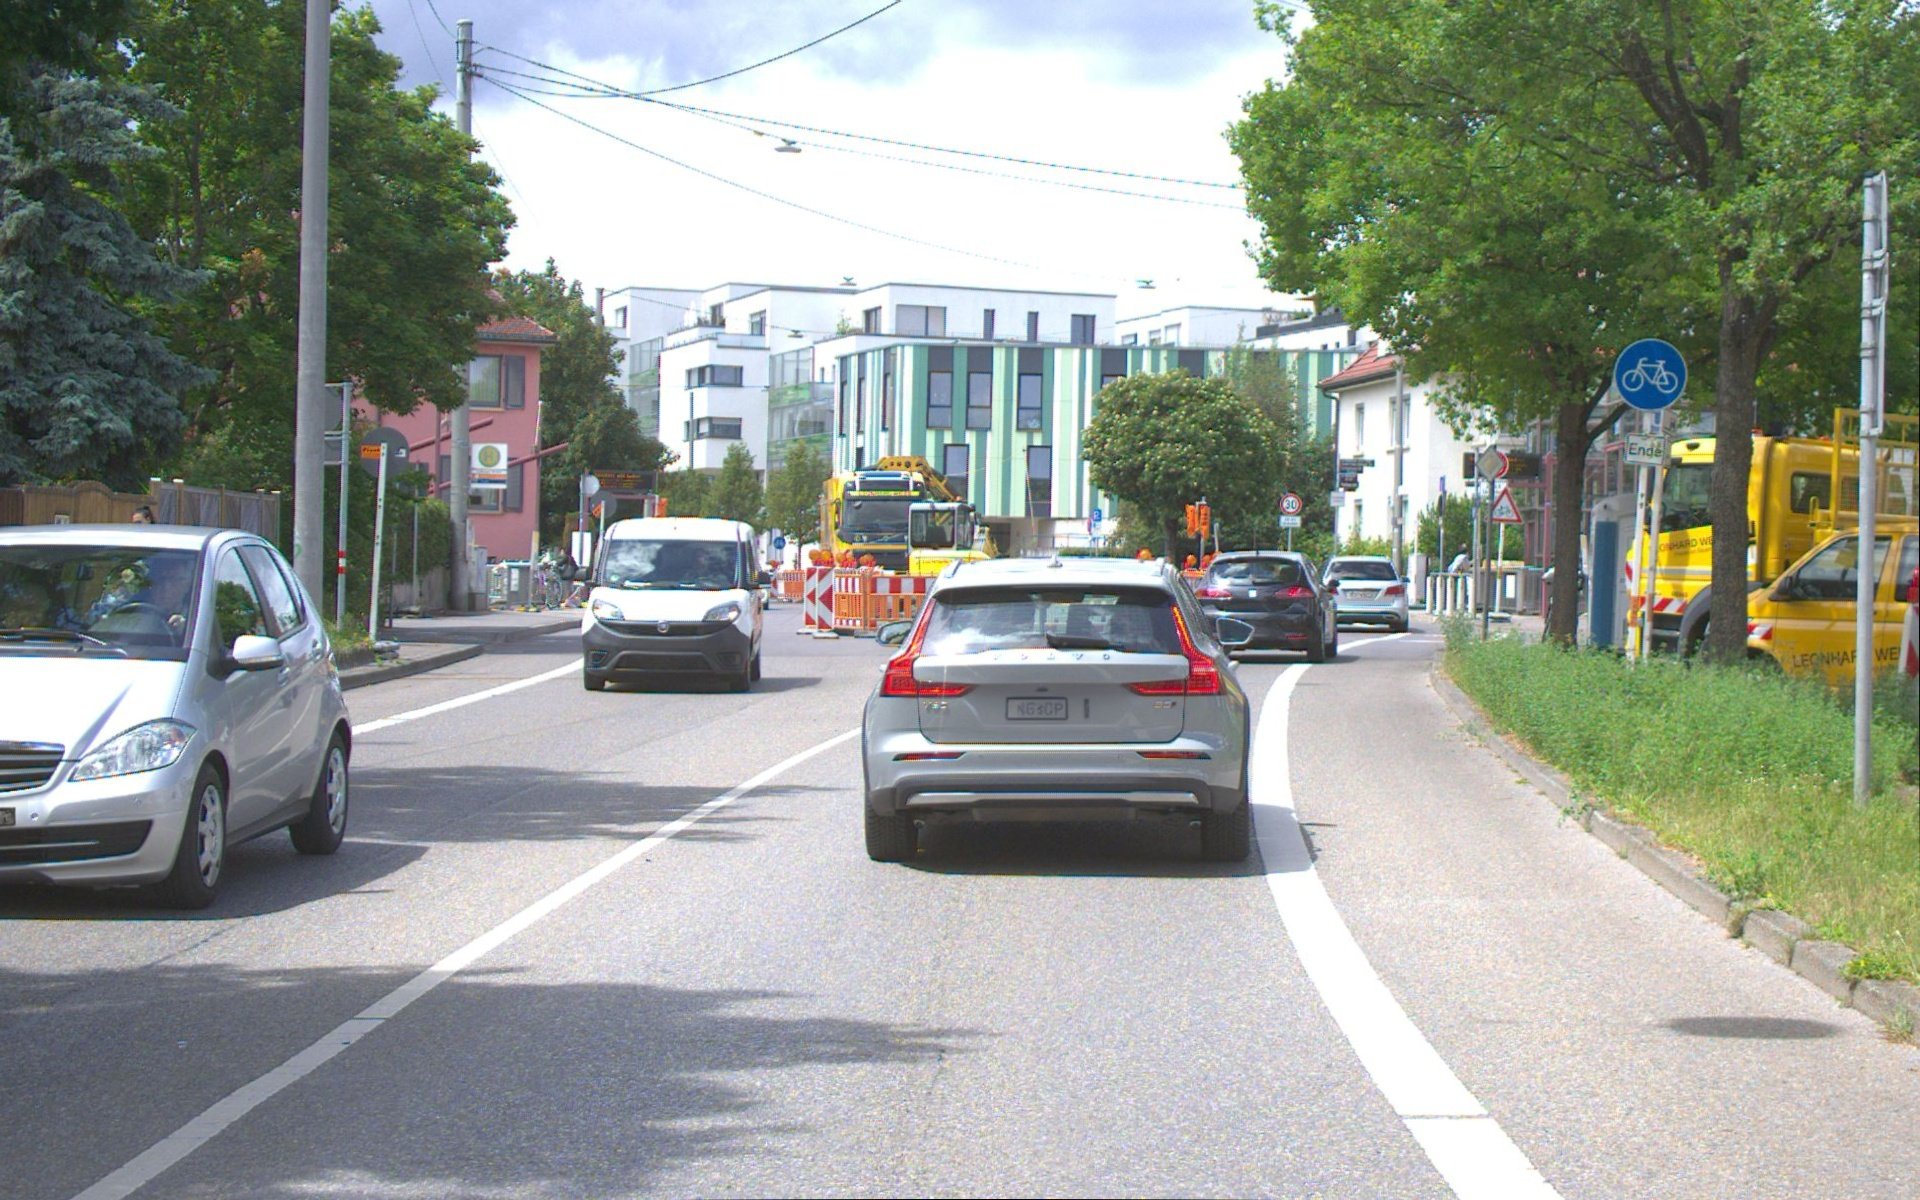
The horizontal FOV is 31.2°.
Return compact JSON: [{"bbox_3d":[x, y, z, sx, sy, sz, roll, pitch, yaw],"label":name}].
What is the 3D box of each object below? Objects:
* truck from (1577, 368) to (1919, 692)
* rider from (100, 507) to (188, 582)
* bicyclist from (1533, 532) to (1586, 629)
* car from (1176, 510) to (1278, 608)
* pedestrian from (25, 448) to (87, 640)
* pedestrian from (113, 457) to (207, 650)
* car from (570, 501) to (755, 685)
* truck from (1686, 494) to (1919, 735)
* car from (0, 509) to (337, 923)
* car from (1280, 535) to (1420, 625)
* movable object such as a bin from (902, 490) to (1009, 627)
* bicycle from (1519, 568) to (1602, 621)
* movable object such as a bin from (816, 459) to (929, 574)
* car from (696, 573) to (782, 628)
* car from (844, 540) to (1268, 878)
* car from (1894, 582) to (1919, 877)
[{"bbox_3d":[9.601,-0.591,32.993,6.703,2.998,2.762,3,-1,45],"label":"truck"},{"bbox_3d":[-8.601,-0.583,36.265,0.728,0.732,0.690,4,-1,-2],"label":"rider"},{"bbox_3d":[9.907,-0.325,56.809,0.589,1.553,0.567,4,-1,-16],"label":"bicyclist"},{"bbox_3d":[6.126,-0.911,78.551,1.994,2.007,3.998,4,-1,7],"label":"car"},{"bbox_3d":[-9.625,-0.593,36.622,0.402,2.007,0.414,4,-1,3],"label":"pedestrian"},{"bbox_3d":[-8.618,-0.493,37.060,0.715,2.007,0.771,4,-1,-2],"label":"pedestrian"},{"bbox_3d":[-3.168,-0.063,37.326,1.848,1.869,4.594,0,0,-3],"label":"car"},{"bbox_3d":[9.193,0.214,29.412,1.994,2.007,5.676,4,-1,-41],"label":"truck"},{"bbox_3d":[-3.941,0.407,15.510,1.708,1.612,4.001,1,1,-3],"label":"car"},{"bbox_3d":[7.587,-0.371,67.185,2.102,1.505,4.000,5,-1,-1],"label":"car"},{"bbox_3d":[-0.085,-0.857,70.290,2.034,2.634,5.940,1,1,0],"label":"movable object such as a bin"},{"bbox_3d":[9.901,-0.092,56.753,0.594,0.809,1.754,4,0,-16],"label":"bicycle"},{"bbox_3d":[-2.435,-2.251,93.728,2.310,2.980,6.428,1,1,-8],"label":"movable object such as a bin"},{"bbox_3d":[-6.303,0.031,98.413,1.888,1.503,3.999,-1,-1,4],"label":"car"},{"bbox_3d":[0.517,0.470,17.659,1.928,1.535,4.000,0,1,2],"label":"car"},{"bbox_3d":[6.890,0.744,15.890,1.763,1.447,4.687,2,1,-43],"label":"car"}]
